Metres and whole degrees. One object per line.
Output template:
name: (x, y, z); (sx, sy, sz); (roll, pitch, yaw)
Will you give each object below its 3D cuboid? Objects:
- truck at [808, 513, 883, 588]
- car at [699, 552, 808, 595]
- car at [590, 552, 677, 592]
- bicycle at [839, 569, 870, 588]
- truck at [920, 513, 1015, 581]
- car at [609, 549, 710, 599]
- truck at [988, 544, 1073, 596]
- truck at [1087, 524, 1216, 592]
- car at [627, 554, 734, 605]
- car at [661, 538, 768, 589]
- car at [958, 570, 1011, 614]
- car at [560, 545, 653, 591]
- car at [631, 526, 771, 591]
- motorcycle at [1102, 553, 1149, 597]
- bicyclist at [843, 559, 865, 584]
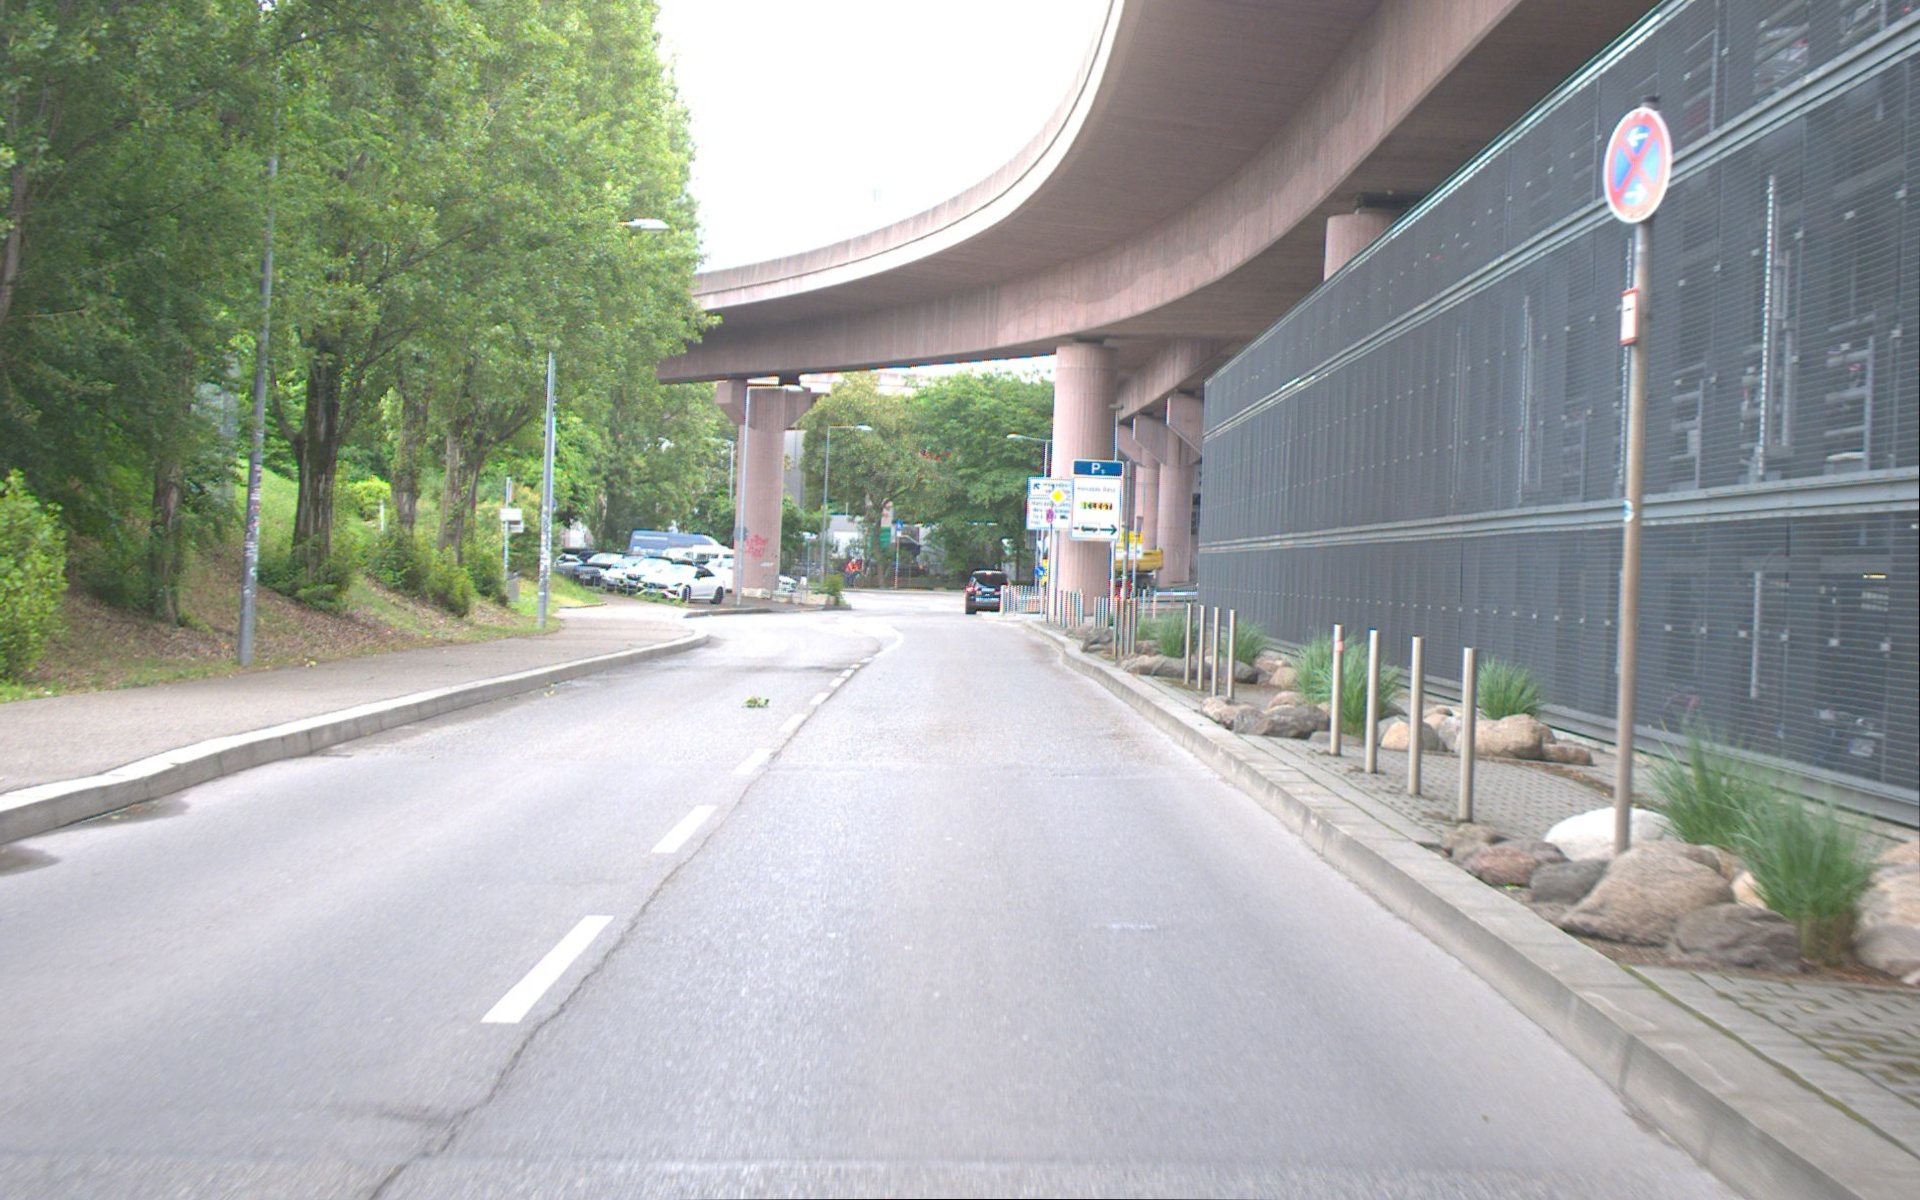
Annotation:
truck: (-7.777, -3.374, 232.481); (3.202, 4.763, 8.051); (1, 2, -16)
car: (-9.220, -1.166, 153.518); (4.383, 1.600, 1.953); (4, 1, 13)
car: (-12.942, -1.115, 136.417); (1.789, 1.449, 3.742); (2, 0, 24)
bicycle: (-5.983, -1.217, 194.251); (0.802, 1.094, 2.131); (0, 0, -30)
truck: (0.419, -3.234, 208.233); (3.065, 3.854, 8.051); (0, 2, -20)
car: (-11.593, -0.995, 132.891); (1.996, 1.577, 4.395); (6, 0, 21)
truck: (4.252, -1.833, 209.449); (2.914, 2.889, 6.560); (0, 2, -20)
truck: (10.884, -2.418, 194.492); (2.934, 3.469, 8.227); (6, 5, 38)
car: (-10.457, -0.751, 129.006); (1.996, 1.475, 4.822); (6, 0, 21)
car: (-11.368, -1.683, 159.114); (4.558, 2.104, 1.850); (3, 1, 9)
car: (0.957, -0.328, 136.681); (1.993, 1.673, 4.560); (2, 0, -1)
car: (-14.299, -1.288, 139.427); (1.859, 1.685, 4.158); (3, 0, 24)
car: (-12.201, -1.955, 162.236); (6.176, 2.715, 2.367); (3, 1, 5)
motorcycle: (5.194, -0.795, 108.245); (0.795, 1.362, 2.130); (1, 1, -17)
bicyclist: (-6.008, -1.632, 194.292); (0.796, 1.400, 1.066); (0, 0, -31)
